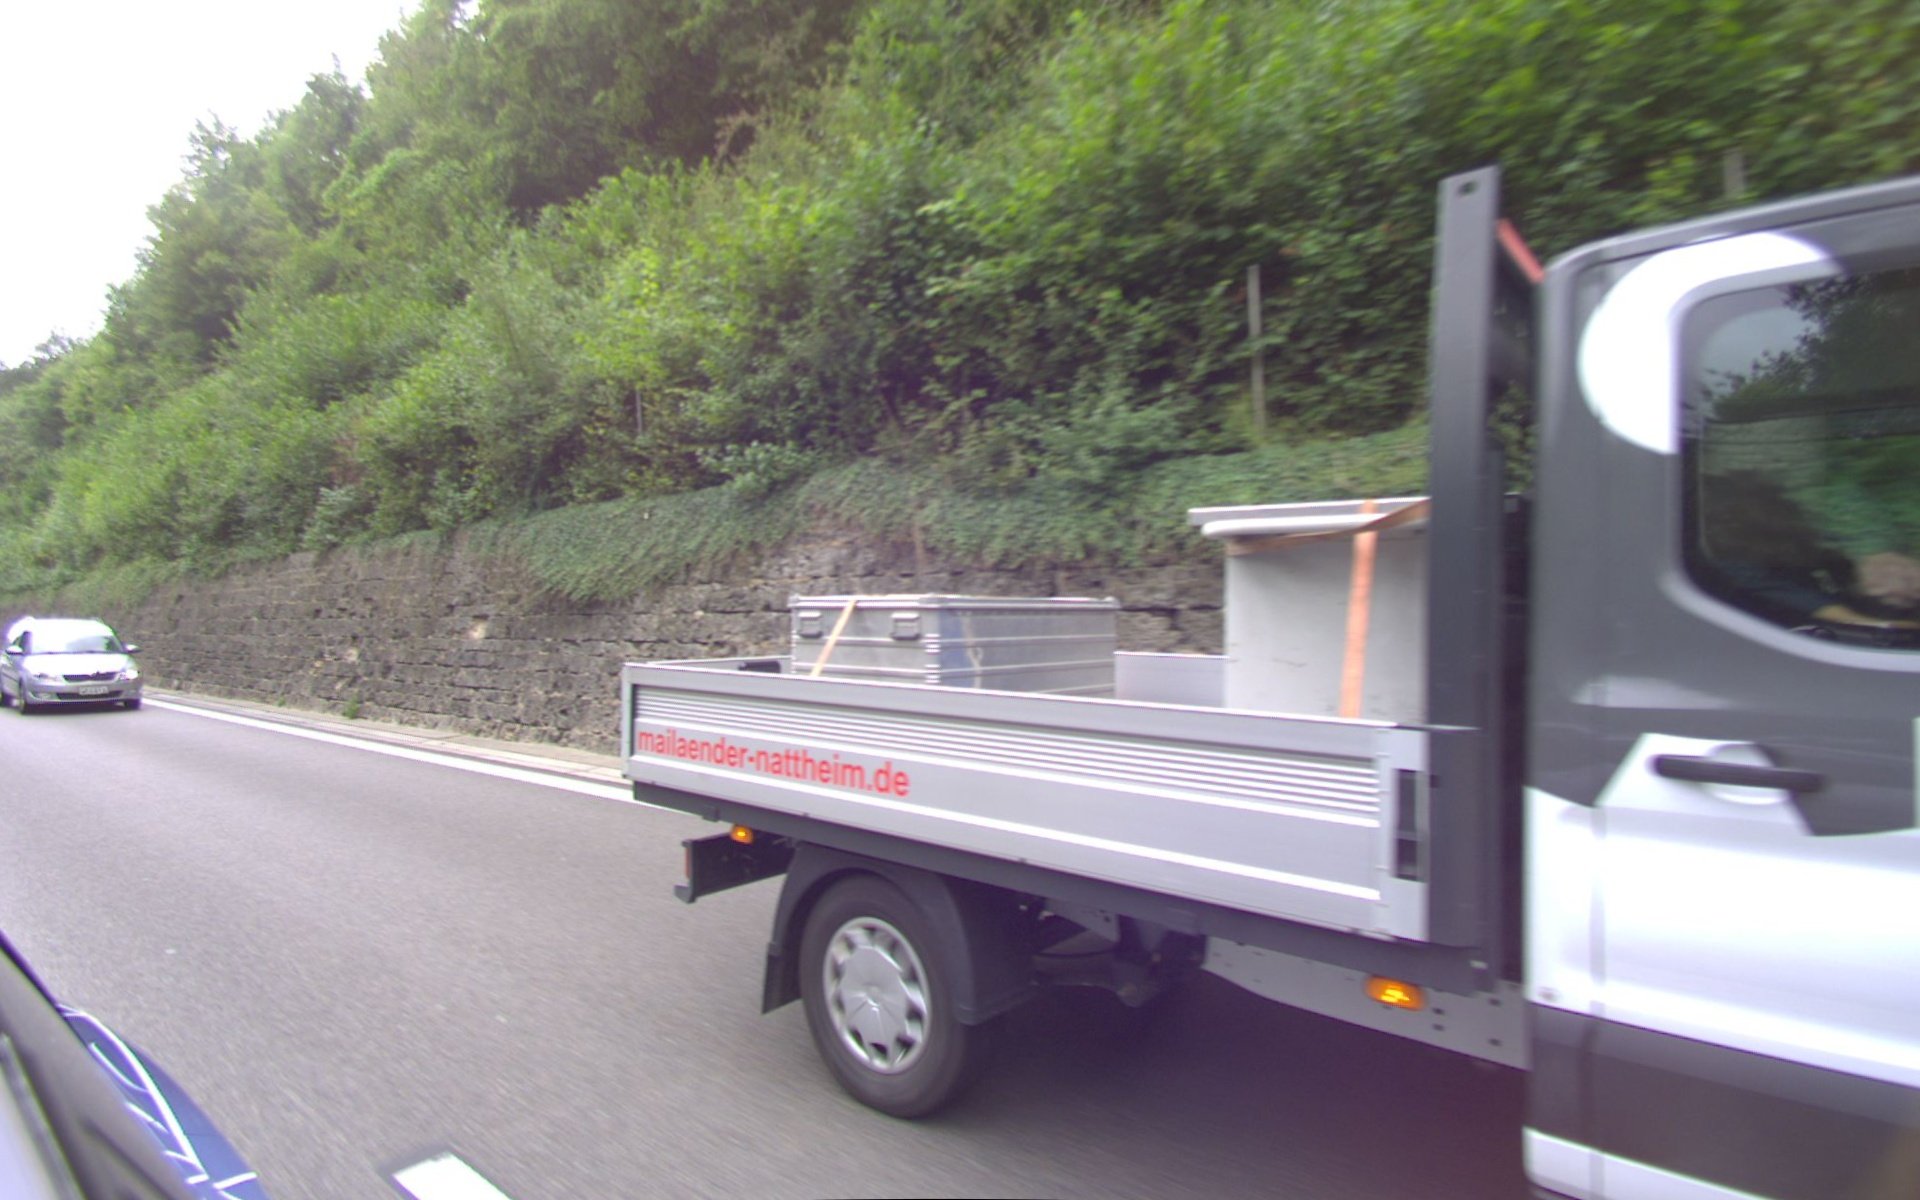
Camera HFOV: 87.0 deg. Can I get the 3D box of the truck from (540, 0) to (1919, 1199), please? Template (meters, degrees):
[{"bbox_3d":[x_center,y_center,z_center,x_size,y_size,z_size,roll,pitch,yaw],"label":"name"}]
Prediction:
[{"bbox_3d":[1.813,0.312,2.472,6.842,2.291,2.326,-1,-1,40],"label":"truck"}]

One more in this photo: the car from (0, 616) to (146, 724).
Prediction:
[{"bbox_3d":[-16.267,1.177,18.337,4.342,1.740,1.617,-1,-2,41],"label":"car"}]
